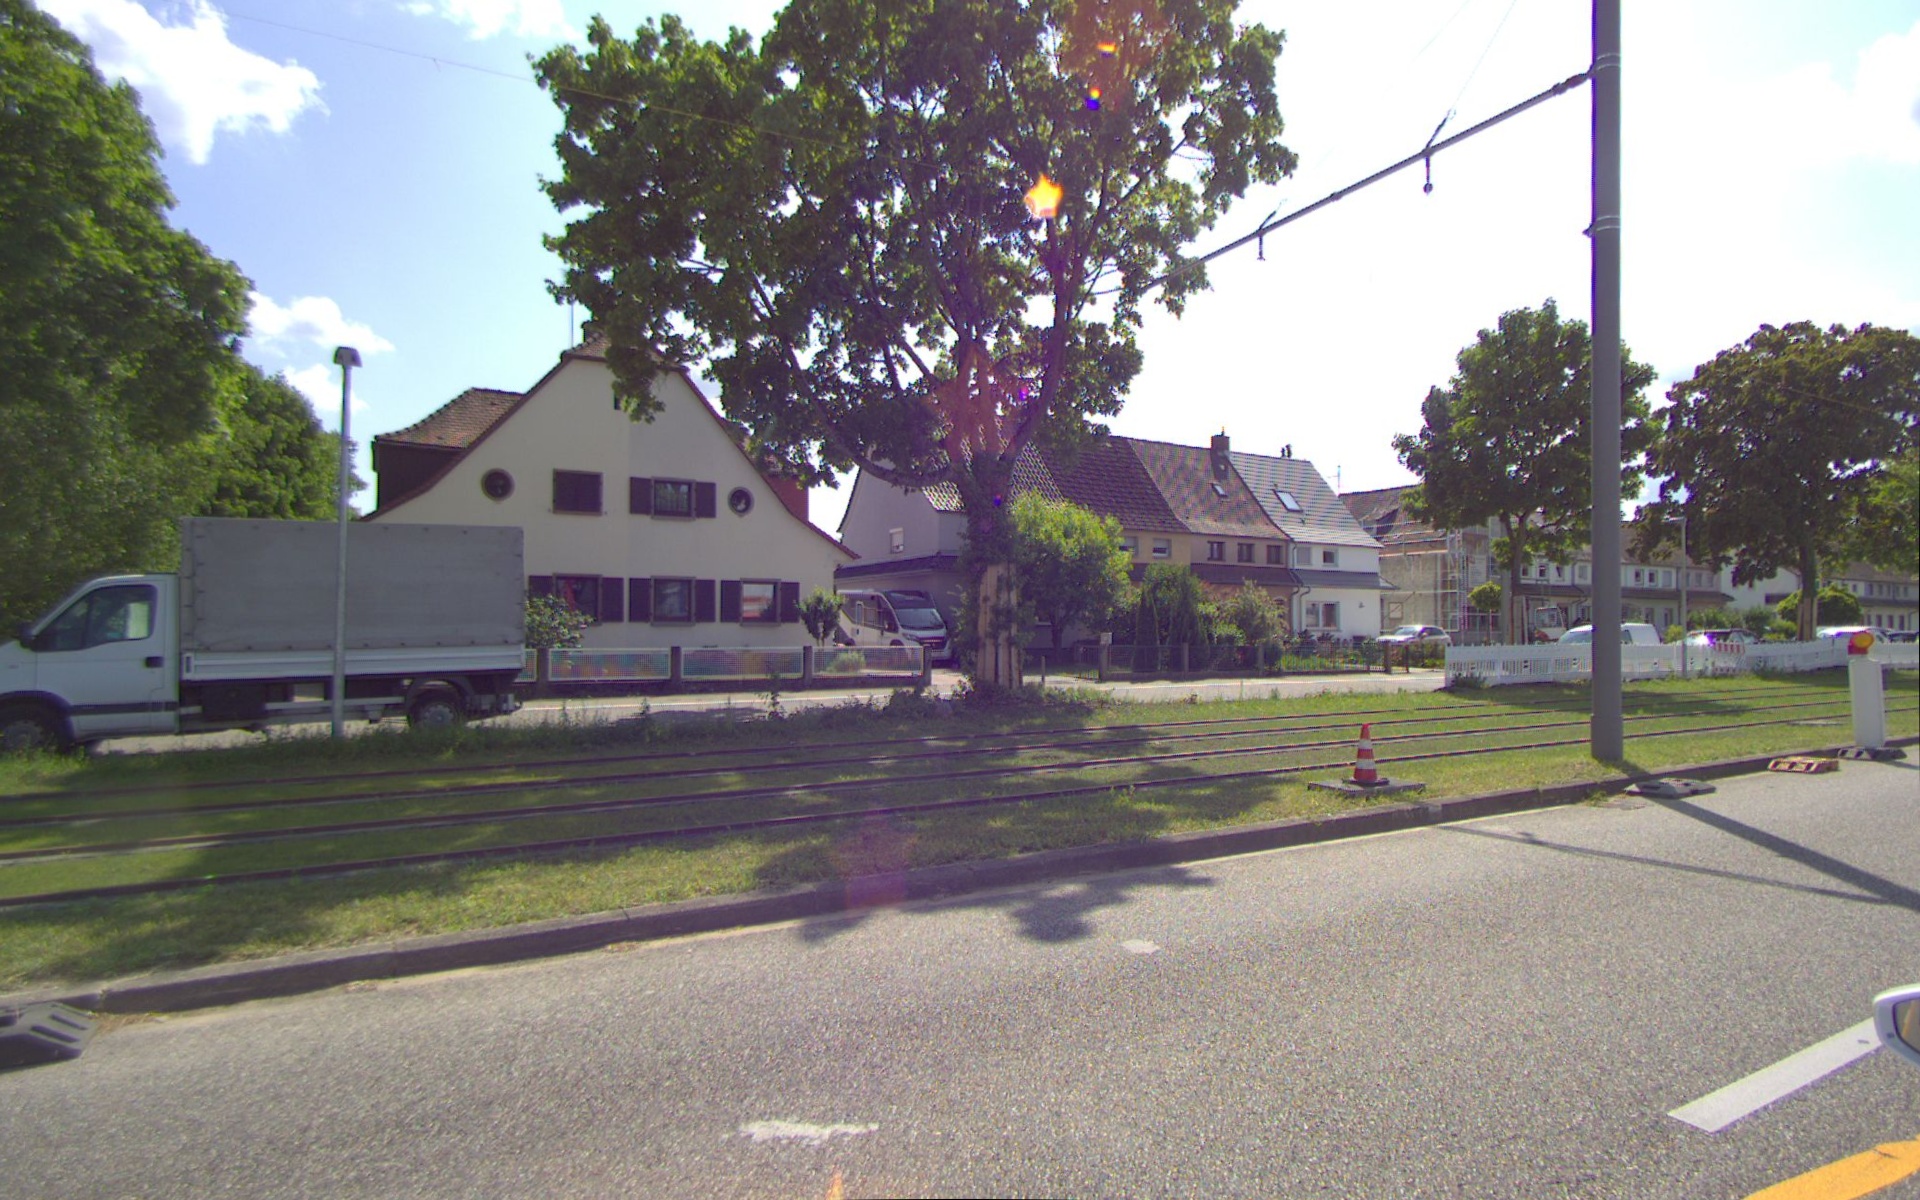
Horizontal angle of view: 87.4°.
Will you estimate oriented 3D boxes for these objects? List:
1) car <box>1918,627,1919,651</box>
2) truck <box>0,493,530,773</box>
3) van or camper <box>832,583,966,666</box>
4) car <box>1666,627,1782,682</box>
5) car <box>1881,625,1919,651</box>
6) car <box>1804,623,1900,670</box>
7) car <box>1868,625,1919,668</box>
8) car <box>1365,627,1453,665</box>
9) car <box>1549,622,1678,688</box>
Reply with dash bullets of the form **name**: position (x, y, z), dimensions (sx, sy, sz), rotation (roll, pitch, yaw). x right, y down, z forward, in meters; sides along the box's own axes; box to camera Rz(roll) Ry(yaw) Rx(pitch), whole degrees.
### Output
- **car**: position (72.135, 2.846, 73.663), dimensions (4.013, 1.762, 1.691), rotation (1, -2, -30)
- **truck**: position (-8.799, 0.415, 12.931), dimensions (5.805, 3.027, 1.994), rotation (1, -2, -30)
- **van or camper**: position (-2.351, 0.909, 36.648), dimensions (2.224, 2.745, 5.963), rotation (1, -2, -33)
- **car**: position (25.745, 1.800, 33.824), dimensions (4.006, 1.762, 1.691), rotation (1, -2, -30)
- **car**: position (66.752, 2.682, 70.727), dimensions (4.013, 1.762, 1.691), rotation (1, -2, -30)
- **car**: position (34.980, 1.802, 39.382), dimensions (3.814, 1.762, 1.691), rotation (1, -2, -30)
- **car**: position (40.388, 1.961, 42.597), dimensions (3.814, 1.762, 1.691), rotation (1, -2, -30)
- **car**: position (19.888, 1.994, 44.476), dimensions (3.814, 1.614, 1.691), rotation (1, -2, -30)
- **car**: position (19.500, 1.605, 29.957), dimensions (3.814, 1.841, 1.691), rotation (1, -2, -30)
